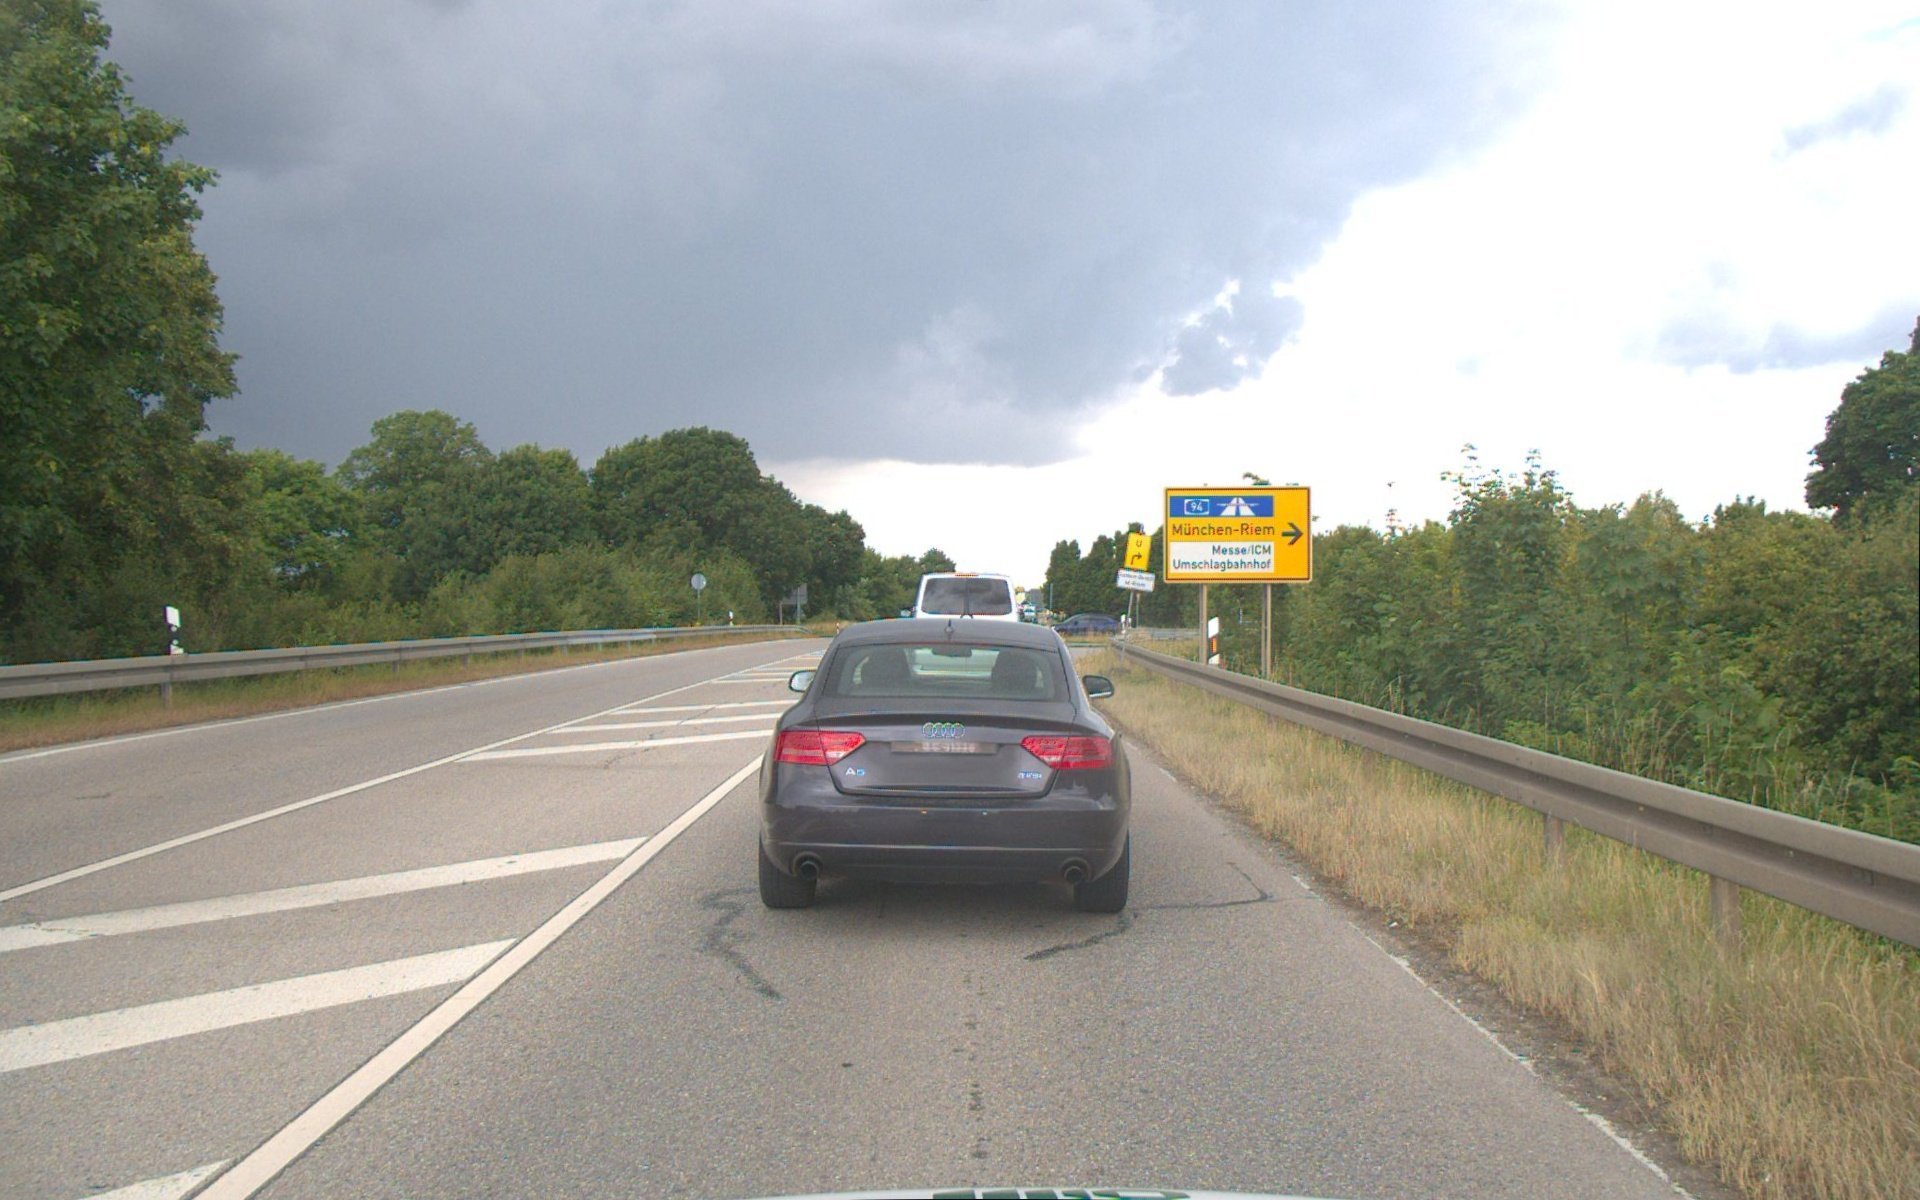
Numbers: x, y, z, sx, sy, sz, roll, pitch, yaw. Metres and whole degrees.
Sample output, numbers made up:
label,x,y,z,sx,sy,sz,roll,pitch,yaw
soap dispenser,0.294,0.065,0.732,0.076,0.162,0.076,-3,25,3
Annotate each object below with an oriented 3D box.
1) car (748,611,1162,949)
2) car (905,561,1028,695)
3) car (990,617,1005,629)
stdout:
label,x,y,z,sx,sy,sz,roll,pitch,yaw
car,-0.043,0.775,8.679,1.743,1.423,3.335,1,0,-1
car,0.084,0.435,27.621,1.871,2.049,3.999,1,0,-1
car,4.824,2.924,212.379,1.699,1.479,3.999,1,0,-1
